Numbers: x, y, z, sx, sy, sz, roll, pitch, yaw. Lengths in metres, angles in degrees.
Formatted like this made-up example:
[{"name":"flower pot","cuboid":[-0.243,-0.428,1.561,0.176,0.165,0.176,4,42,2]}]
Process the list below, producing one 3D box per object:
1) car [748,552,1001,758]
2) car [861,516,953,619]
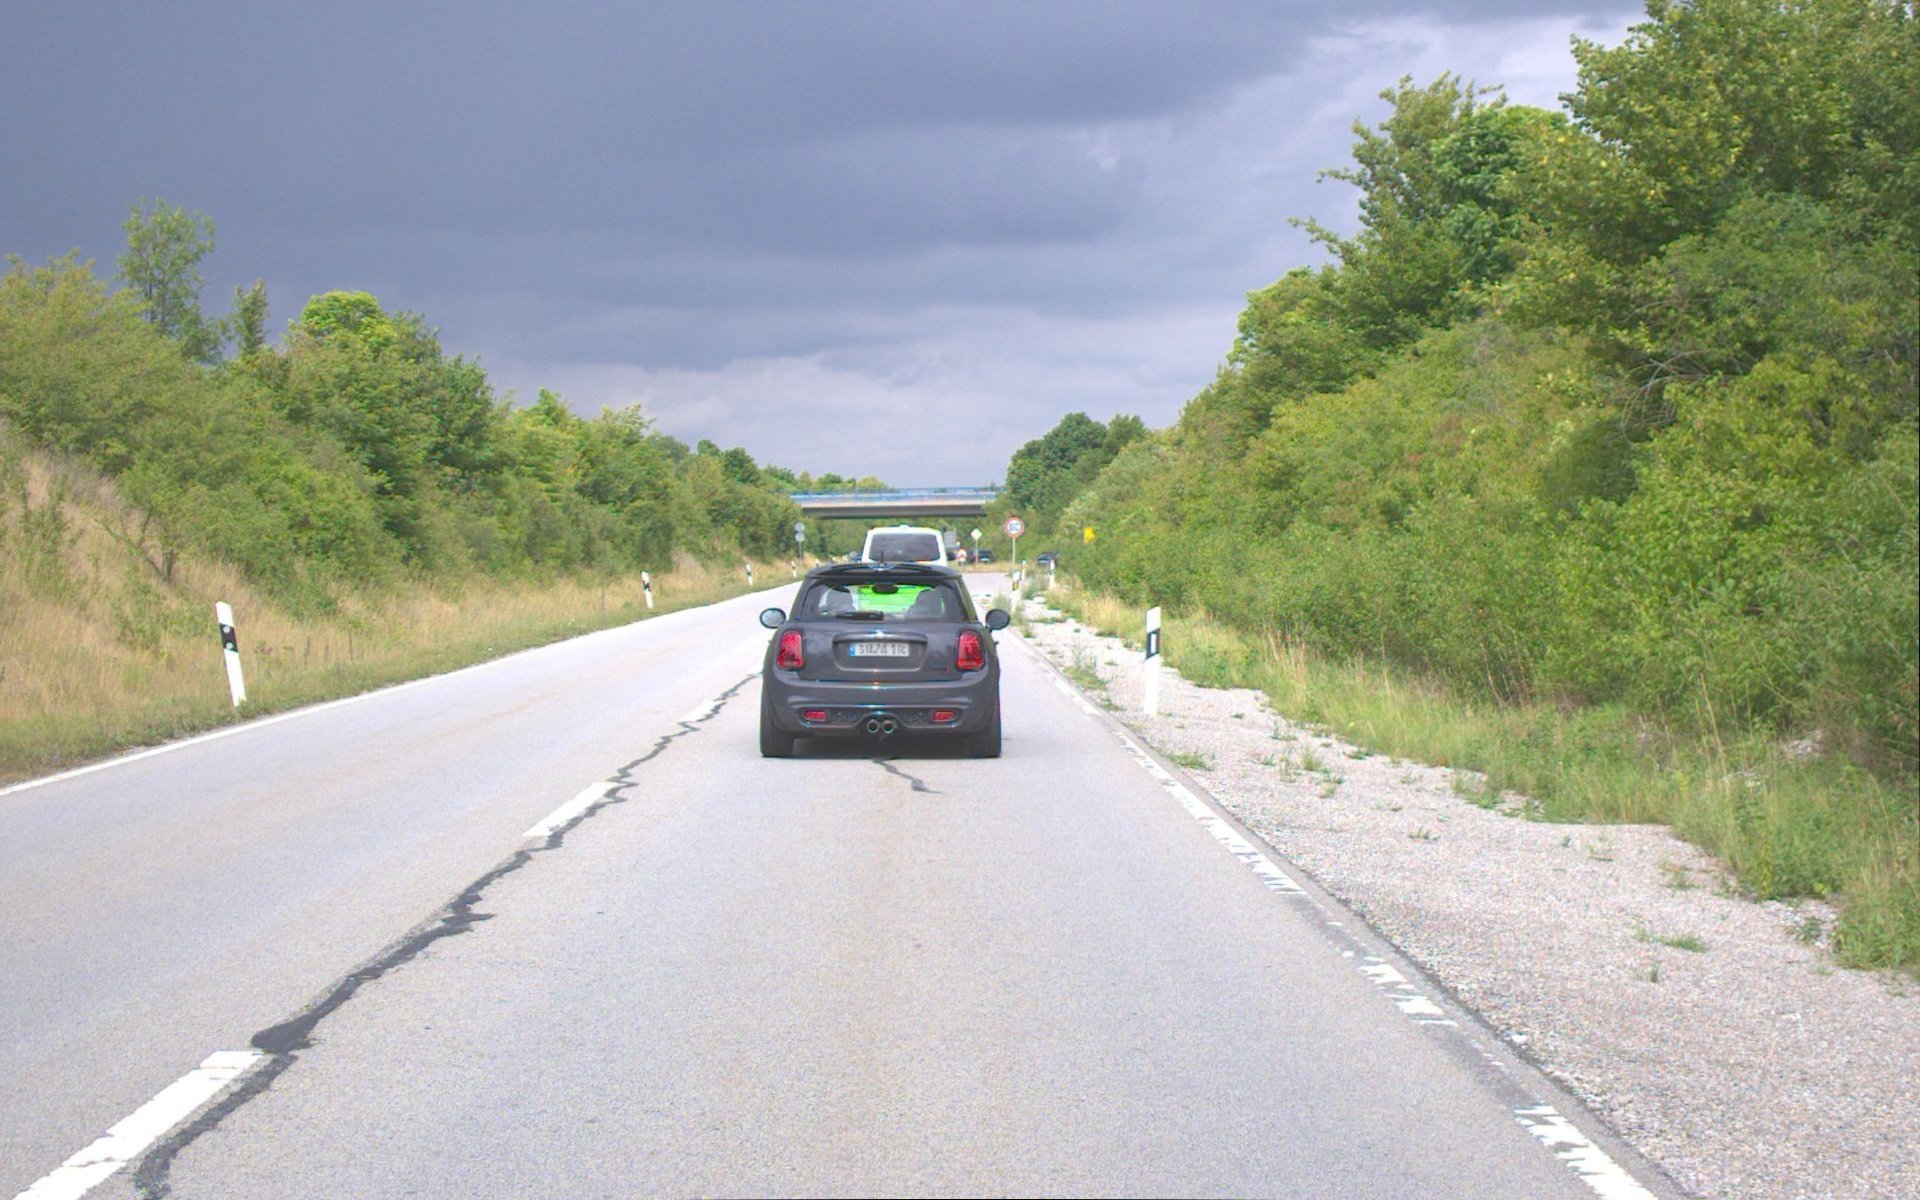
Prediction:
[{"name":"car","cuboid":[-0.629,0.359,26.035,1.756,1.422,4.000,1,1,-1]},{"name":"car","cuboid":[-1.087,-0.674,70.897,1.819,2.047,4.000,1,1,-1]}]
